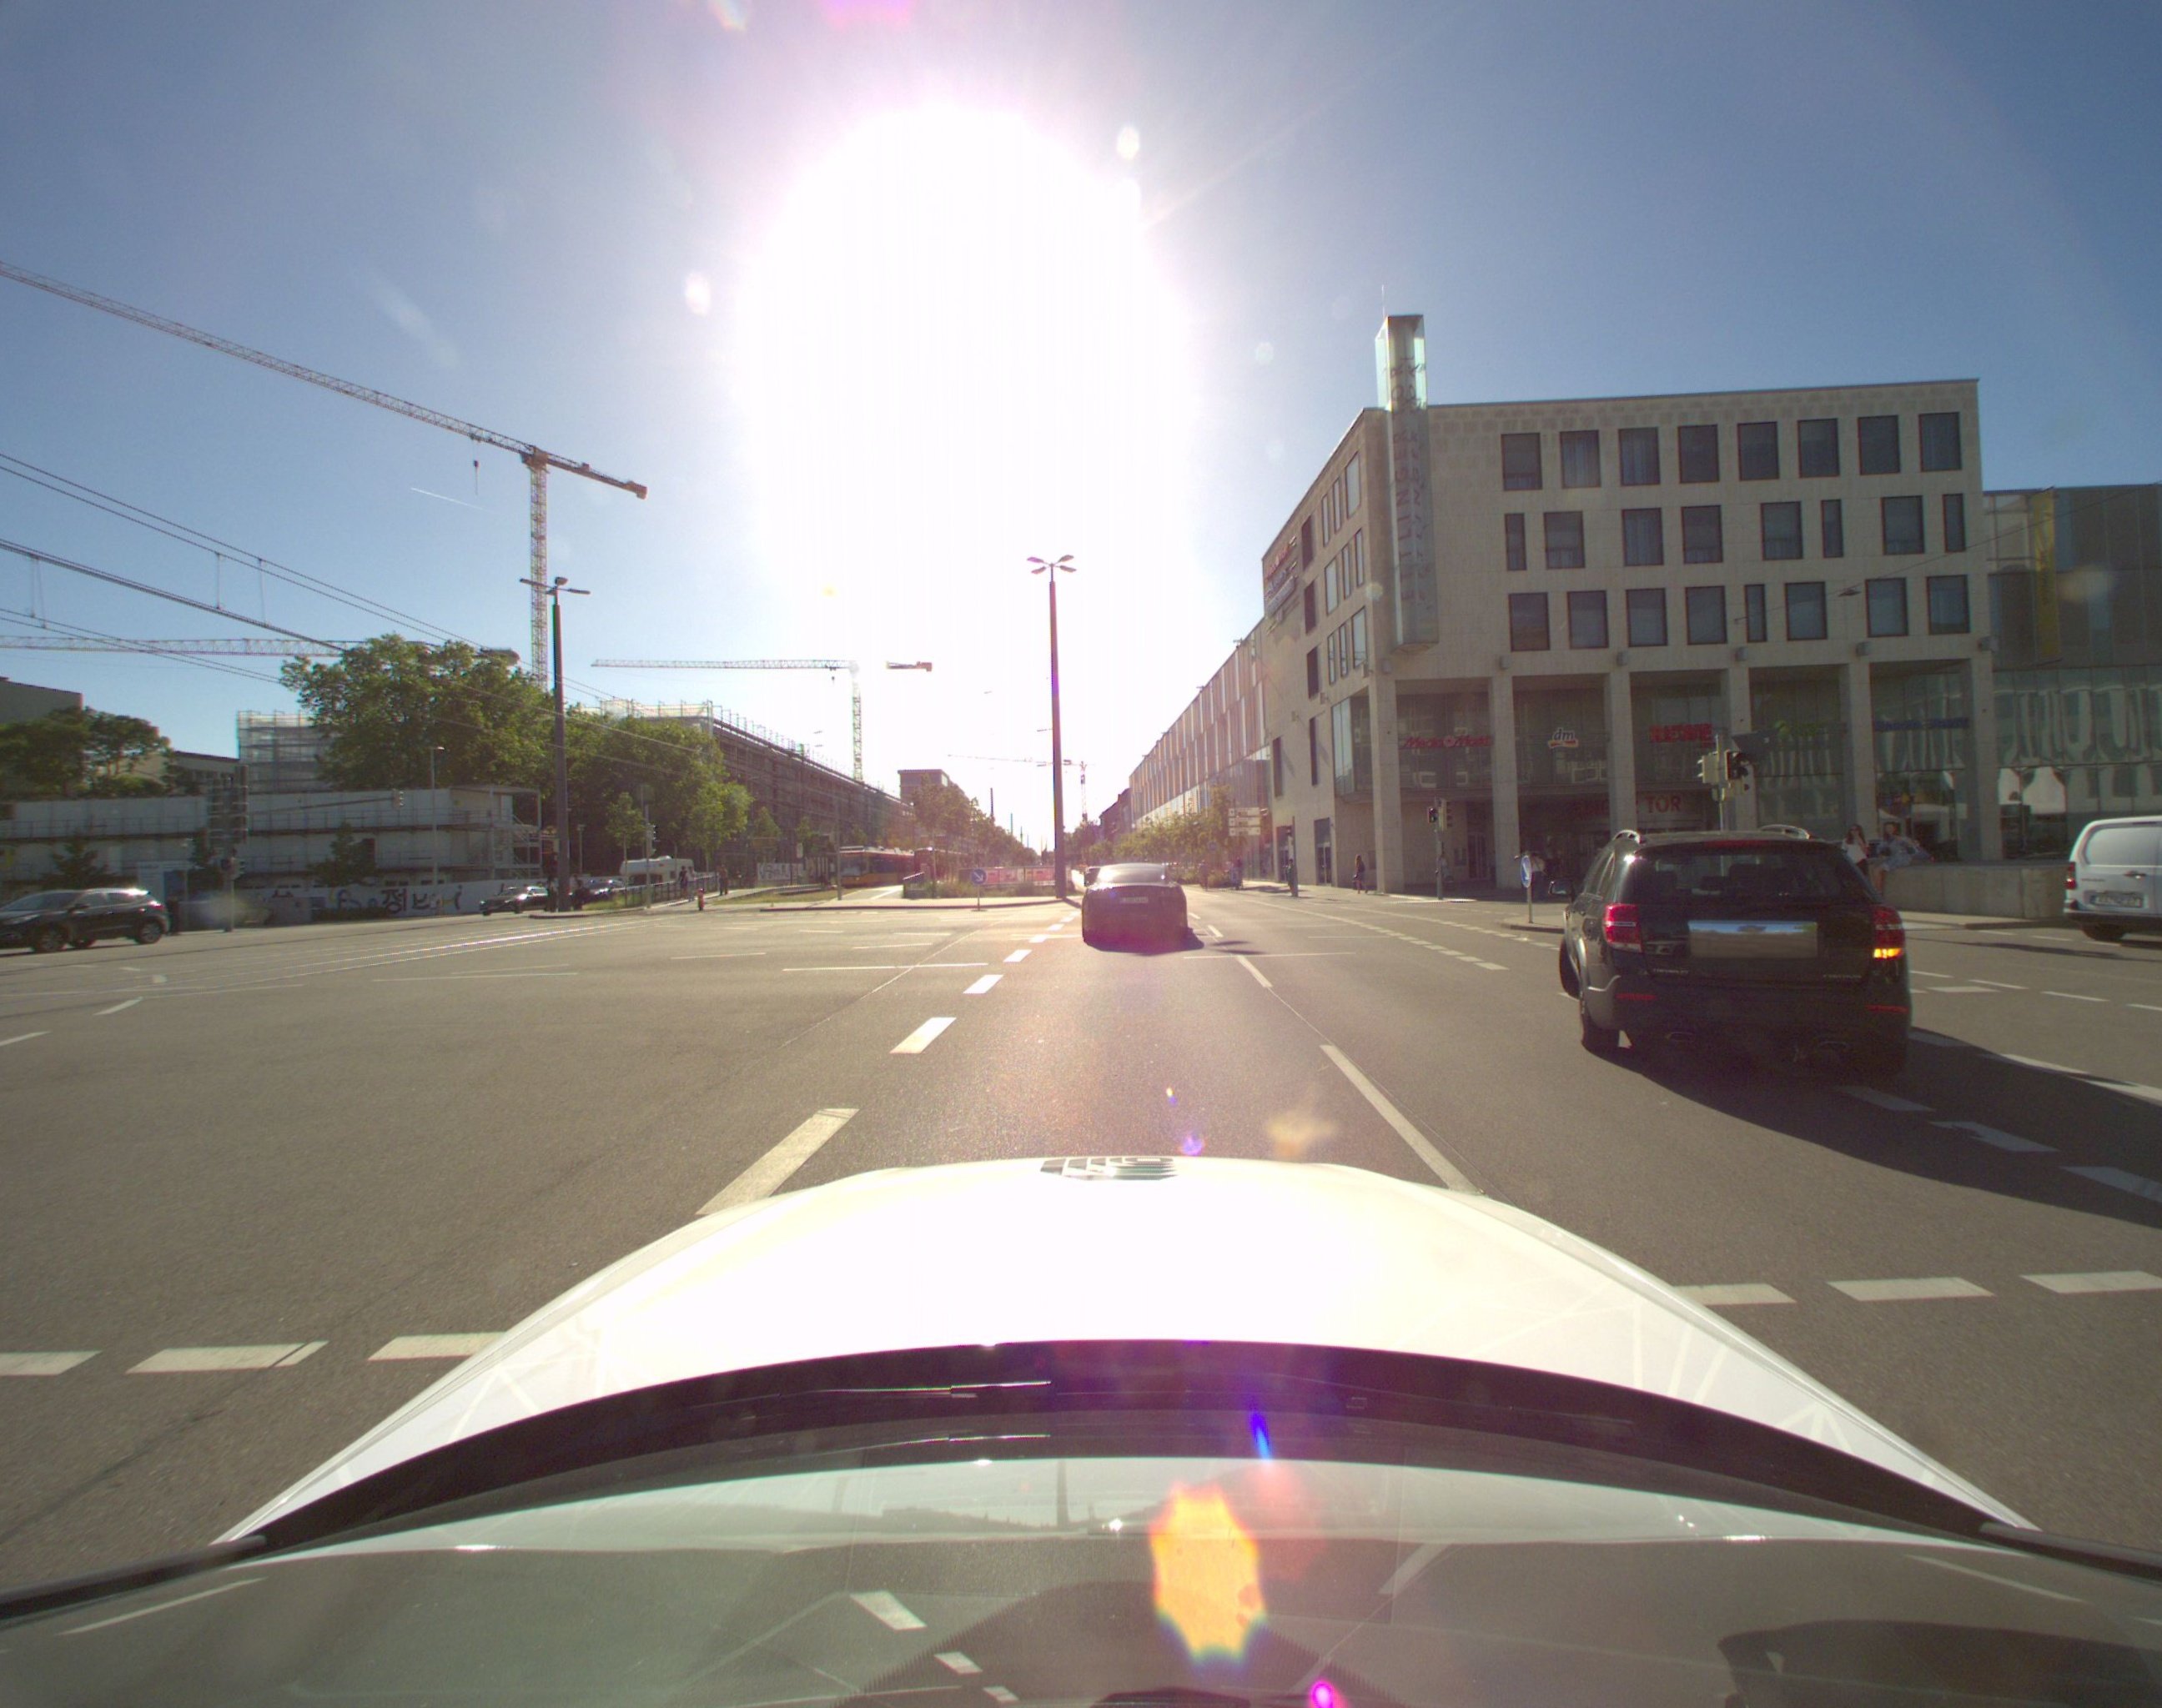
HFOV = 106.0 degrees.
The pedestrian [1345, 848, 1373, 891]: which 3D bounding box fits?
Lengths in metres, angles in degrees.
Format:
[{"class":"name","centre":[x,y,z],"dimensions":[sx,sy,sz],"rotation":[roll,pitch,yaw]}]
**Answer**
[{"class":"pedestrian","centre":[12.117,0.691,35.566],"dimensions":[0.726,1.801,1.065],"rotation":[-4,-1,-2]}]

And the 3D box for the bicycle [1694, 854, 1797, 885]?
[{"class":"bicycle","centre":[25.133,0.578,30.939],"dimensions":[1.062,1.094,3.498],"rotation":[-2,-1,1]}]

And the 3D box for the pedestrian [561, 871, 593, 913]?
[{"class":"pedestrian","centre":[-22.709,1.700,36.713],"dimensions":[0.798,1.823,0.975],"rotation":[-2,-1,-4]}]

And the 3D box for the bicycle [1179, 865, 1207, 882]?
[{"class":"bicycle","centre":[8.838,1.510,64.410],"dimensions":[2.076,1.205,0.951],"rotation":[-3,-1,4]}]

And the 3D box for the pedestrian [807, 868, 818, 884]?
[{"class":"pedestrian","centre":[-21.449,1.747,65.024],"dimensions":[0.670,1.226,0.505],"rotation":[0,-2,-5]}]

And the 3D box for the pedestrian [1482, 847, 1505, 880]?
[{"class":"pedestrian","centre":[20.282,0.469,40.049],"dimensions":[0.721,1.608,0.750],"rotation":[-2,0,-1]}]

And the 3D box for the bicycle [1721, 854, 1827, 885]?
[{"class":"bicycle","centre":[26.270,0.565,30.992],"dimensions":[1.062,1.094,3.498],"rotation":[-2,-1,1]}]

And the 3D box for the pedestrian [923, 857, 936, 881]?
[{"class":"pedestrian","centre":[-11.358,1.120,60.994],"dimensions":[0.872,1.775,1.187],"rotation":[0,0,-5]}]

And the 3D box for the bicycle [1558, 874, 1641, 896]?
[{"class":"bicycle","centre":[17.846,1.059,28.068],"dimensions":[2.184,0.671,1.072],"rotation":[-2,-1,2]}]

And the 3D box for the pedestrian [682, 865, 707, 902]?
[{"class":"pedestrian","centre":[-19.447,1.466,41.018],"dimensions":[0.798,1.823,0.975],"rotation":[-2,-1,-4]}]

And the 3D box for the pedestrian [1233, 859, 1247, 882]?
[{"class":"pedestrian","centre":[11.786,1.229,60.305],"dimensions":[0.705,1.658,0.898],"rotation":[-4,-1,-6]}]

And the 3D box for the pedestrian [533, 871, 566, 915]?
[{"class":"pedestrian","centre":[-22.889,1.664,35.048],"dimensions":[0.792,1.823,0.887],"rotation":[-2,-1,30]}]

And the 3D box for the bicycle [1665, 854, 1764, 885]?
[{"class":"bicycle","centre":[23.974,0.583,30.960],"dimensions":[1.062,1.094,3.497],"rotation":[-2,-1,0]}]

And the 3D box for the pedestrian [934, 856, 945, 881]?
[{"class":"pedestrian","centre":[-10.072,1.019,58.050],"dimensions":[0.702,1.775,0.958],"rotation":[0,0,-5]}]

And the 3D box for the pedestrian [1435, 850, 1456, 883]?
[{"class":"pedestrian","centre":[18.255,0.598,40.751],"dimensions":[0.746,1.608,0.556],"rotation":[-2,0,-3]}]

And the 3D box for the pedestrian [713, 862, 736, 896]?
[{"class":"pedestrian","centre":[-19.651,1.353,44.919],"dimensions":[0.798,1.823,0.975],"rotation":[-2,-1,-4]}]

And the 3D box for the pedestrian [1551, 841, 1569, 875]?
[{"class":"pedestrian","centre":[25.933,0.218,44.107],"dimensions":[0.559,1.762,0.643],"rotation":[-2,0,-38]}]

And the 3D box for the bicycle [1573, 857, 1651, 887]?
[{"class":"bicycle","centre":[20.360,0.679,31.346],"dimensions":[1.062,1.094,2.991],"rotation":[-2,-1,0]}]

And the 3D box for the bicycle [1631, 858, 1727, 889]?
[{"class":"bicycle","centre":[22.692,0.731,31.037],"dimensions":[1.062,1.094,3.497],"rotation":[-2,-1,0]}]

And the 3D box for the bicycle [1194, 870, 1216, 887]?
[{"class":"bicycle","centre":[7.312,1.451,48.124],"dimensions":[0.727,0.983,2.328],"rotation":[0,-1,-5]}]

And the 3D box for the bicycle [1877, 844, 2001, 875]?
[{"class":"bicycle","centre":[32.535,0.221,31.002],"dimensions":[1.062,1.094,3.498],"rotation":[-2,-1,1]}]

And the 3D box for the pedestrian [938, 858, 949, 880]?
[{"class":"pedestrian","centre":[-11.539,1.260,68.487],"dimensions":[0.789,1.775,0.977],"rotation":[0,0,-5]}]

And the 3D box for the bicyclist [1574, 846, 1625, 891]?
[{"class":"bicyclist","centre":[17.867,0.501,28.088],"dimensions":[1.018,1.476,1.072],"rotation":[-2,-1,2]}]

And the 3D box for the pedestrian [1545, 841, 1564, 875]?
[{"class":"pedestrian","centre":[25.382,0.209,43.637],"dimensions":[0.559,1.762,0.643],"rotation":[-2,0,-38]}]

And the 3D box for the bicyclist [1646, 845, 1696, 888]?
[{"class":"bicyclist","centre":[20.288,0.424,28.031],"dimensions":[0.929,1.396,1.077],"rotation":[-2,-1,2]}]

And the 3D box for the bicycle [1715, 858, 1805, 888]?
[{"class":"bicycle","centre":[23.353,0.653,28.031],"dimensions":[2.184,0.932,1.031],"rotation":[-2,-1,2]}]

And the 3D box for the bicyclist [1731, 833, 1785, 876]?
[{"class":"bicyclist","centre":[23.285,0.031,28.033],"dimensions":[0.929,1.433,1.041],"rotation":[-2,-1,2]}]

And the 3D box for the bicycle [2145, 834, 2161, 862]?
[{"class":"bicycle","centre":[42.957,-0.260,30.743],"dimensions":[1.062,1.094,3.498],"rotation":[-2,-1,1]}]

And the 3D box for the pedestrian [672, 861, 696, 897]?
[{"class":"pedestrian","centre":[-20.896,1.319,42.907],"dimensions":[0.798,1.823,0.975],"rotation":[-2,-1,-4]}]

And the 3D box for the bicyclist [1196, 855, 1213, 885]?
[{"class":"bicyclist","centre":[7.264,0.921,48.059],"dimensions":[0.724,1.737,0.996],"rotation":[-2,-1,-5]}]

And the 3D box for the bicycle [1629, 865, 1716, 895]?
[{"class":"bicycle","centre":[20.343,0.887,28.029],"dimensions":[2.184,0.943,1.072],"rotation":[-2,-1,2]}]

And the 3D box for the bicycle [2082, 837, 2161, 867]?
[{"class":"bicycle","centre":[40.165,-0.080,30.517],"dimensions":[1.062,1.094,3.498],"rotation":[-2,-1,1]}]
